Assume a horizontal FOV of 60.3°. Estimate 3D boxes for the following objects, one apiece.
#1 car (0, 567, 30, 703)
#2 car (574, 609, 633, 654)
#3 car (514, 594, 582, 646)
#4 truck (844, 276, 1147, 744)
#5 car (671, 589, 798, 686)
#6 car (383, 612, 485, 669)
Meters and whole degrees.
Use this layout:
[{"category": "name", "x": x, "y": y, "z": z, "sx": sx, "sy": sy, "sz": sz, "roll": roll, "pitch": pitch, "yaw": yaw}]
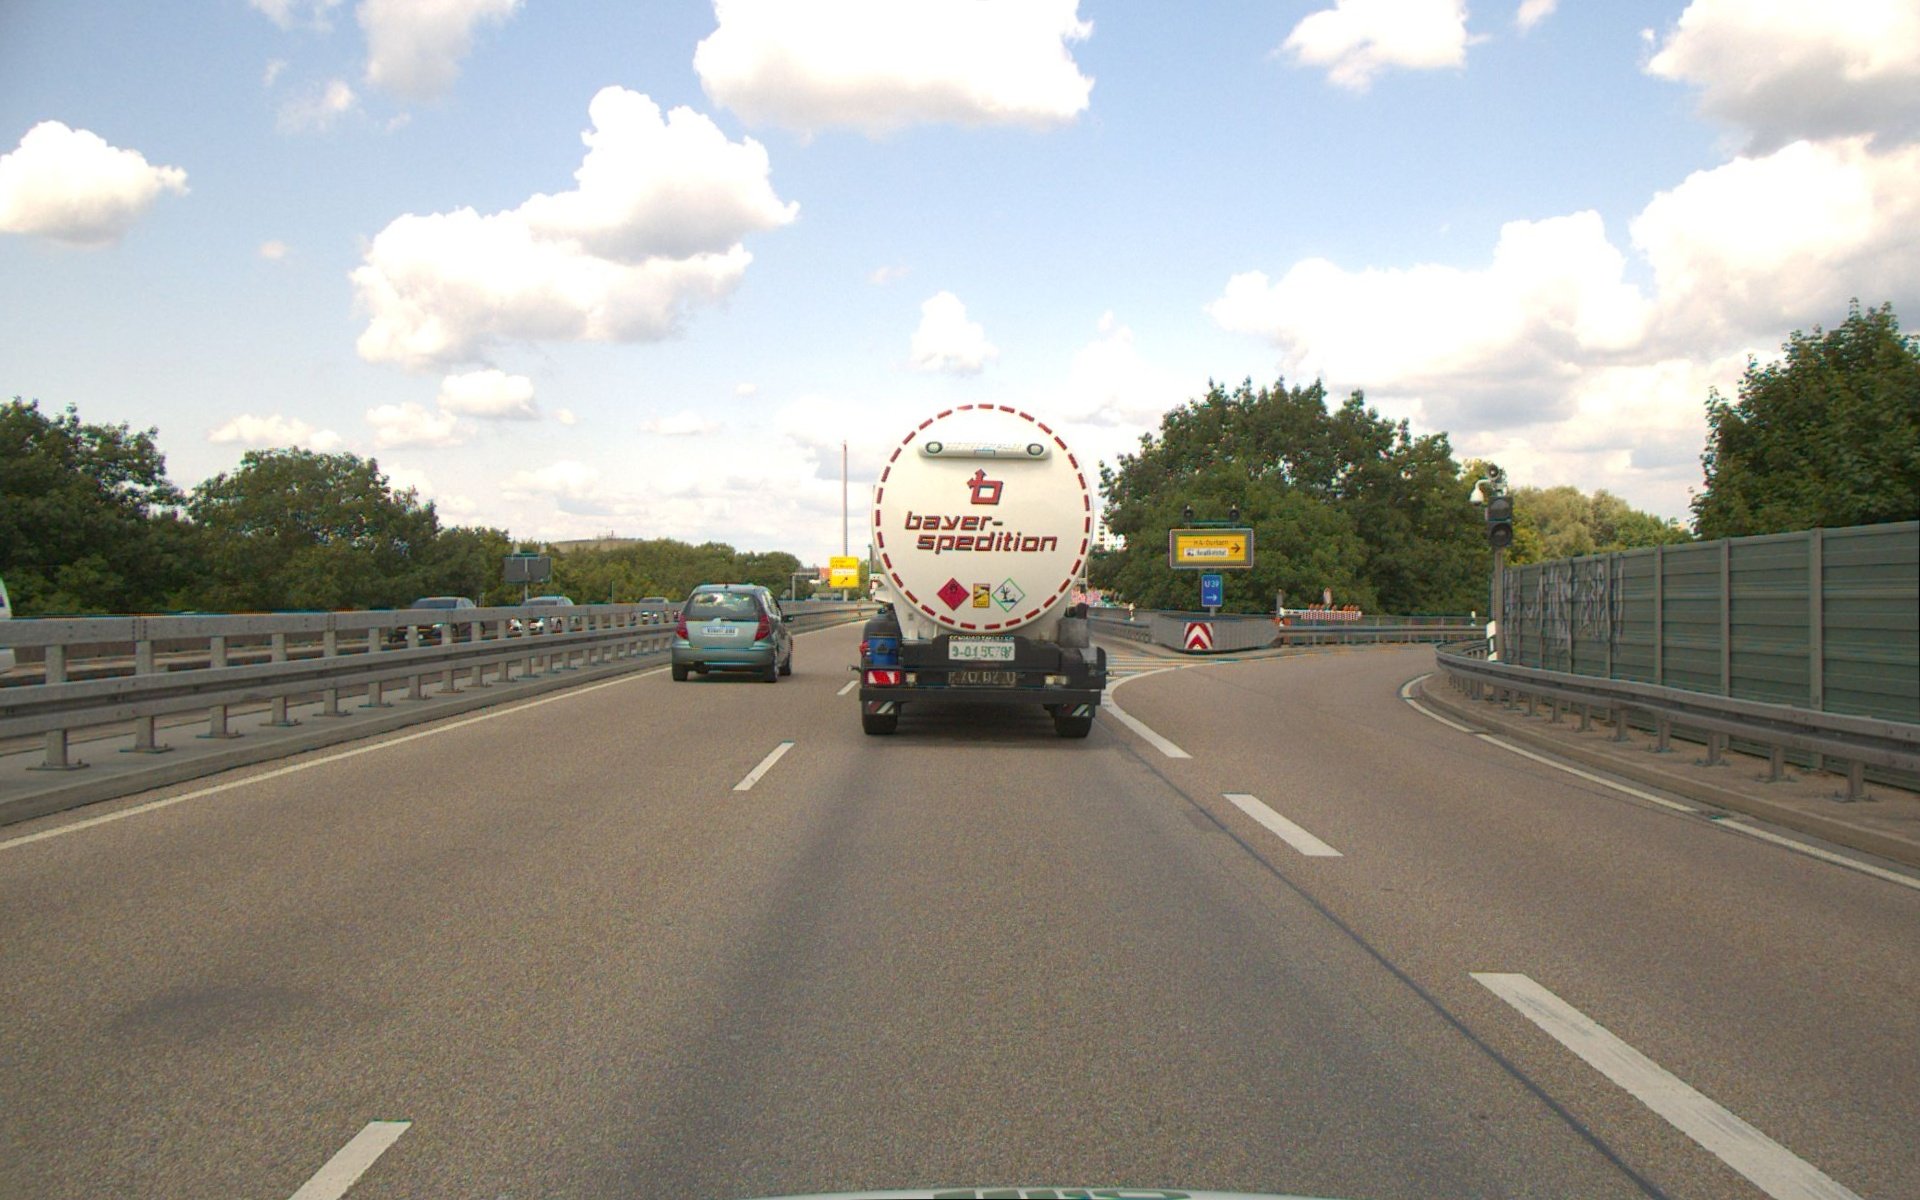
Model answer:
[{"category": "car", "x": -14.776, "y": 0.513, "z": 22.102, "sx": 1.921, "sy": 1.958, "sz": 5.189, "roll": 2, "pitch": 1, "yaw": -3}, {"category": "car", "x": -17.069, "y": 1.467, "z": 79.264, "sx": 1.953, "sy": 2.049, "sz": 3.999, "roll": 1, "pitch": 0, "yaw": -1}, {"category": "car", "x": -15.207, "y": 0.712, "z": 61.172, "sx": 1.550, "sy": 1.740, "sz": 4.409, "roll": 1, "pitch": 1, "yaw": -2}, {"category": "truck", "x": 0.268, "y": -0.859, "z": 19.990, "sx": 2.836, "sy": 4.445, "sz": 8.027, "roll": 1, "pitch": 0, "yaw": -1}, {"category": "car", "x": -3.839, "y": 0.601, "z": 28.708, "sx": 1.712, "sy": 1.558, "sz": 3.999, "roll": 0, "pitch": 0, "yaw": -1}, {"category": "car", "x": -15.060, "y": 1.138, "z": 47.556, "sx": 1.748, "sy": 1.413, "sz": 4.046, "roll": 1, "pitch": 1, "yaw": -2}]
